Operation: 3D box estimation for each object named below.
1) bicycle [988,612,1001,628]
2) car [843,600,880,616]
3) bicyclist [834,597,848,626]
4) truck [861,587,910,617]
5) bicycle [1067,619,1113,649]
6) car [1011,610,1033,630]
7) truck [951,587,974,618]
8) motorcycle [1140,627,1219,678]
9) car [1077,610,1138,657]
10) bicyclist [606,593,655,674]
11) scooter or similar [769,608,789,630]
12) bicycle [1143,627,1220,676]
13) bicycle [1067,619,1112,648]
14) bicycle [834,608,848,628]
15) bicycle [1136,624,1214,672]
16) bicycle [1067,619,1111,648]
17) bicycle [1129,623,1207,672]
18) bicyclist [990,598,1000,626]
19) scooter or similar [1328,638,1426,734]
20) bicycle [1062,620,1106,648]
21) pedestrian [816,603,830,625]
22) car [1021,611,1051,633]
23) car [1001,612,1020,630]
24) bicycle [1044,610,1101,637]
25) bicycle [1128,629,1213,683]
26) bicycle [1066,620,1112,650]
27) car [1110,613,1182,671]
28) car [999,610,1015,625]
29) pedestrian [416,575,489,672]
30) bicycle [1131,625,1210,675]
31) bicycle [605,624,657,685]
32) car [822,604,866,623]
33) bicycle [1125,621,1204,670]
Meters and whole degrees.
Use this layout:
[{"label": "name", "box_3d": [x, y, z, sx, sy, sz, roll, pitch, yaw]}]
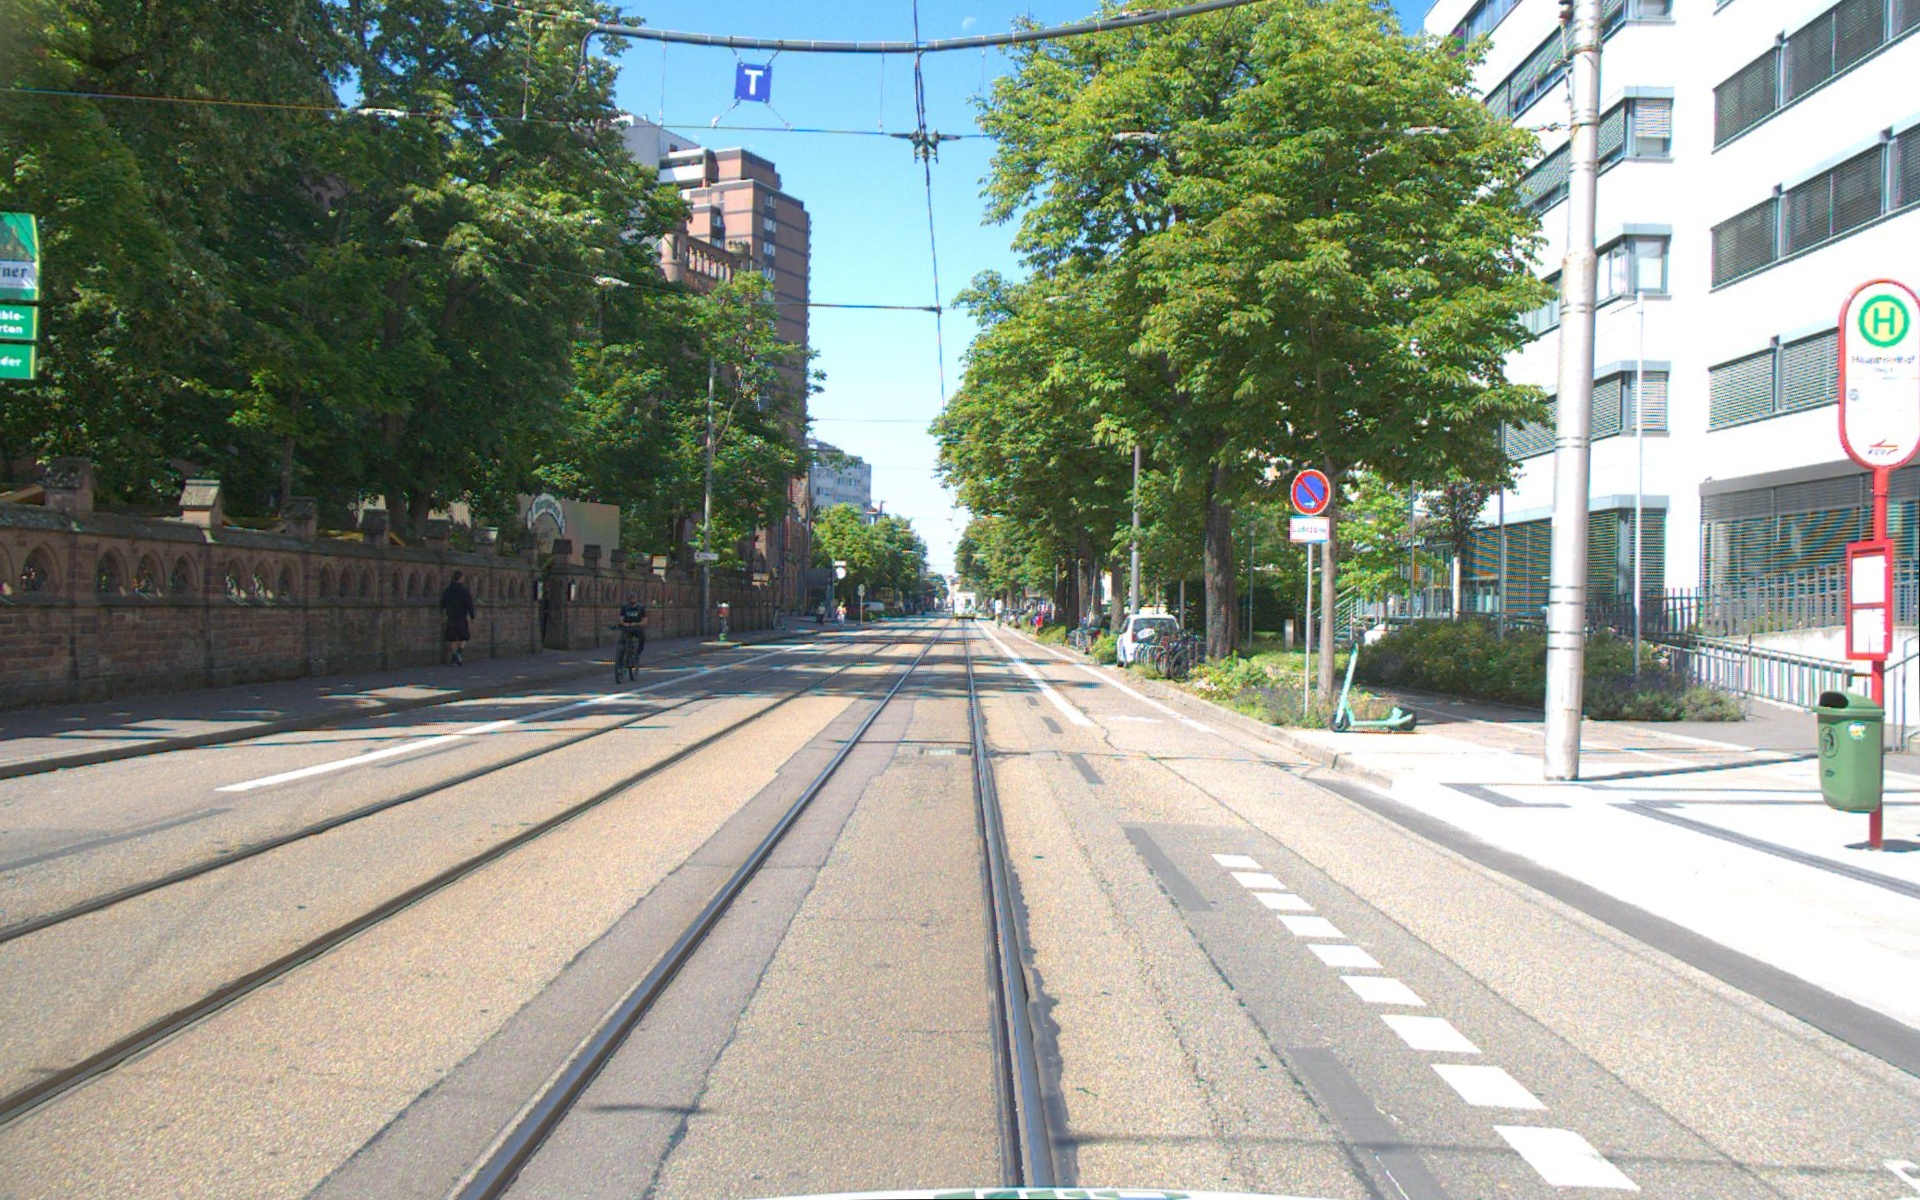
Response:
[{"label": "bicycle", "box_3d": [2.435, 1.429, 117.338, 0.838, 1.129, 2.139, 1, 0, -1]}, {"label": "car", "box_3d": [-11.757, 0.919, 196.649, 3.946, 1.780, 1.980, 1, -1, -31]}, {"label": "bicyclist", "box_3d": [-7.203, 0.711, 100.234, 0.710, 1.728, 1.146, 1, 0, -1]}, {"label": "truck", "box_3d": [-10.113, 0.257, 225.581, 2.755, 3.927, 9.999, 1, -1, 21]}, {"label": "bicycle", "box_3d": [5.013, 1.309, 63.820, 1.689, 1.105, 0.697, 1, 0, -1]}, {"label": "car", "box_3d": [4.779, 1.526, 128.059, 1.596, 1.498, 4.113, 1, 0, 0]}, {"label": "truck", "box_3d": [0.276, 0.251, 176.700, 2.353, 3.163, 6.036, 1, 0, 0]}, {"label": "motorcycle", "box_3d": [4.953, 1.189, 37.419, 1.689, 1.105, 0.658, 1, 0, -1]}, {"label": "car", "box_3d": [5.082, 1.123, 57.559, 1.597, 1.509, 4.271, 1, 0, -2]}, {"label": "bicyclist", "box_3d": [-6.530, 0.656, 32.807, 0.725, 1.557, 0.947, 1, -1, 0]}, {"label": "scooter or similar", "box_3d": [-9.708, 1.019, 88.647, 0.327, 1.149, 1.181, 1, -1, 38]}, {"label": "bicycle", "box_3d": [5.192, 1.208, 38.822, 1.689, 1.105, 0.639, 1, 0, -1]}, {"label": "bicycle", "box_3d": [5.042, 1.313, 64.467, 1.689, 1.105, 0.570, 1, 0, -1]}, {"label": "bicycle", "box_3d": [-7.222, 1.059, 100.286, 0.649, 1.174, 2.014, 1, 0, 0]}, {"label": "bicycle", "box_3d": [5.157, 1.137, 39.709, 1.756, 1.105, 0.726, 1, 0, -1]}, {"label": "bicycle", "box_3d": [5.072, 1.308, 65.059, 1.689, 1.105, 0.589, 1, 0, -1]}, {"label": "bicycle", "box_3d": [5.135, 1.163, 40.916, 1.834, 1.161, 0.686, 1, 0, -1]}, {"label": "bicyclist", "box_3d": [2.489, 0.851, 117.487, 0.623, 1.904, 1.024, 1, 0, -1]}, {"label": "scooter or similar", "box_3d": [5.389, 1.108, 21.400, 1.102, 1.187, 0.676, 1, 0, 2]}, {"label": "bicycle", "box_3d": [4.956, 1.362, 66.131, 1.689, 1.105, 0.615, 1, 0, -1]}, {"label": "pedestrian", "box_3d": [-9.563, 0.968, 115.229, 0.866, 1.538, 1.473, 1, -1, -9]}, {"label": "car", "box_3d": [4.855, 1.394, 106.377, 1.597, 1.378, 3.900, 1, 0, -2]}, {"label": "car", "box_3d": [4.431, 1.843, 145.945, 1.596, 1.498, 4.113, 1, 0, 0]}, {"label": "bicycle", "box_3d": [5.915, 1.236, 87.385, 2.964, 1.355, 1.041, 1, -1, 3]}, {"label": "bicycle", "box_3d": [4.476, 1.191, 35.198, 1.689, 1.105, 0.789, 1, 0, -1]}, {"label": "bicycle", "box_3d": [4.935, 1.318, 63.161, 1.689, 1.105, 0.628, 1, 0, -1]}, {"label": "car", "box_3d": [5.057, 1.111, 45.370, 1.596, 1.498, 3.631, 1, 0, 1]}, {"label": "car", "box_3d": [4.844, 1.811, 171.566, 1.596, 1.498, 4.113, 1, 0, 0]}, {"label": "pedestrian", "box_3d": [-10.192, 0.462, 33.250, 0.956, 1.847, 1.185, 5, 0, 0]}, {"label": "bicycle", "box_3d": [5.109, 1.210, 40.237, 1.811, 1.152, 0.680, 1, 0, -1]}, {"label": "bicycle", "box_3d": [-6.528, 1.066, 32.918, 0.579, 1.125, 2.054, 1, 0, 0]}, {"label": "car", "box_3d": [-11.479, 1.341, 163.870, 3.957, 1.842, 1.865, 2, -1, -37]}, {"label": "bicycle", "box_3d": [5.139, 1.145, 41.563, 1.865, 1.190, 0.819, 1, 0, -1]}]
